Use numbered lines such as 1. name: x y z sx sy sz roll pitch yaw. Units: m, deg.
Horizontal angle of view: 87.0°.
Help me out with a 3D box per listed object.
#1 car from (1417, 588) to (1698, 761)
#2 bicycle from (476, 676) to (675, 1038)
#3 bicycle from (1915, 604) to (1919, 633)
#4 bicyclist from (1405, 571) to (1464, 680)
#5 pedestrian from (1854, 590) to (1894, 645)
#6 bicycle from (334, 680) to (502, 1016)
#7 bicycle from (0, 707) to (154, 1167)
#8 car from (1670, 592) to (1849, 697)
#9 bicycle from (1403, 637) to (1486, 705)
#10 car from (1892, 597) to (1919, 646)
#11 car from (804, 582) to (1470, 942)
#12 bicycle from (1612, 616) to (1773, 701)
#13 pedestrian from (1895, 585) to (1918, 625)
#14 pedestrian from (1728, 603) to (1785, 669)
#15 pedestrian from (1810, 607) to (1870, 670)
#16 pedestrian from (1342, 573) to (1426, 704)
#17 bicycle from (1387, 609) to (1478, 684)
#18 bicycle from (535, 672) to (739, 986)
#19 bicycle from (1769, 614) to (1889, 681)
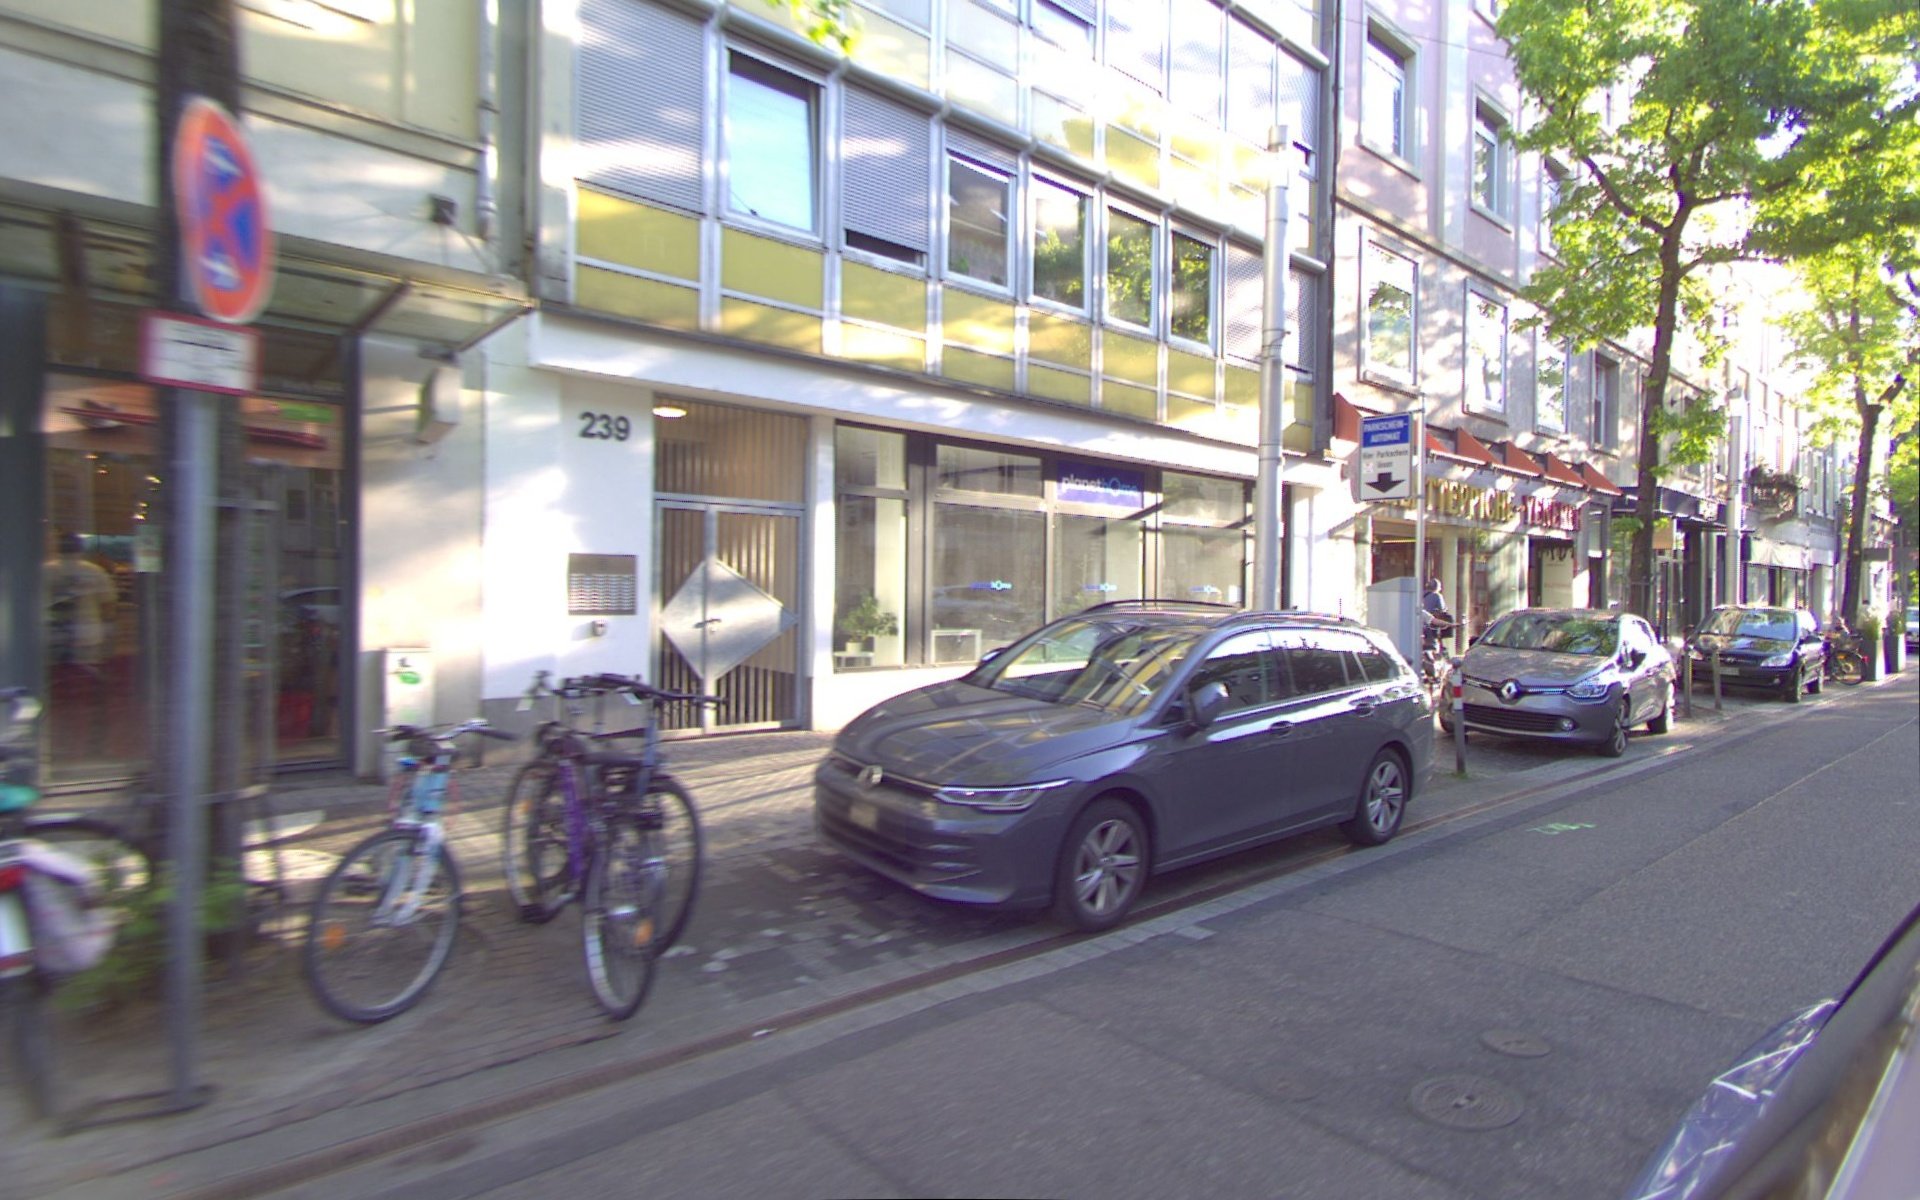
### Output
1. car: 6.935 0.682 11.570 1.816 1.504 3.936 6 5 44
2. bicycle: -1.647 0.887 4.134 0.277 0.976 2.044 0 1 -35
3. bicycle: 39.093 0.761 40.020 0.552 1.169 1.871 0 1 -38
4. bicyclist: 7.613 0.390 16.238 0.589 1.705 0.640 0 1 -42
5. pedestrian: 28.758 0.546 31.829 0.742 1.663 0.805 0 1 -40
6. bicycle: -2.274 0.890 4.165 0.486 0.976 1.544 0 1 -33
7. bicycle: -2.865 0.916 3.139 0.486 0.976 1.543 0 1 -36
8. car: 13.766 0.669 17.365 3.593 1.475 1.803 -1 5 -43
9. bicycle: 6.684 0.958 13.938 1.580 0.817 0.467 0 1 -42
10. car: 31.933 0.692 32.926 4.344 1.457 1.780 -1 4 -40
11. car: 1.274 0.682 6.327 4.031 1.471 1.876 0 3 -39
12. bicycle: 10.700 0.813 14.816 1.853 1.087 0.702 2 1 41
13. pedestrian: 49.337 0.245 52.754 0.843 2.039 0.830 0 1 43
14. pedestrian: 17.449 0.769 22.189 0.699 1.404 0.744 1 0 12
15. pedestrian: 18.428 0.792 21.197 0.575 1.281 0.820 0 0 -35
16. pedestrian: 5.608 0.482 13.384 0.688 1.667 0.798 0 0 -42
17. bicycle: 7.584 0.715 16.217 1.829 1.087 0.648 0 1 -42
18. bicycle: -1.515 0.889 4.532 0.326 0.976 1.903 0 1 -35
19. bicycle: 17.170 0.915 20.049 0.535 1.152 1.736 0 2 -20
